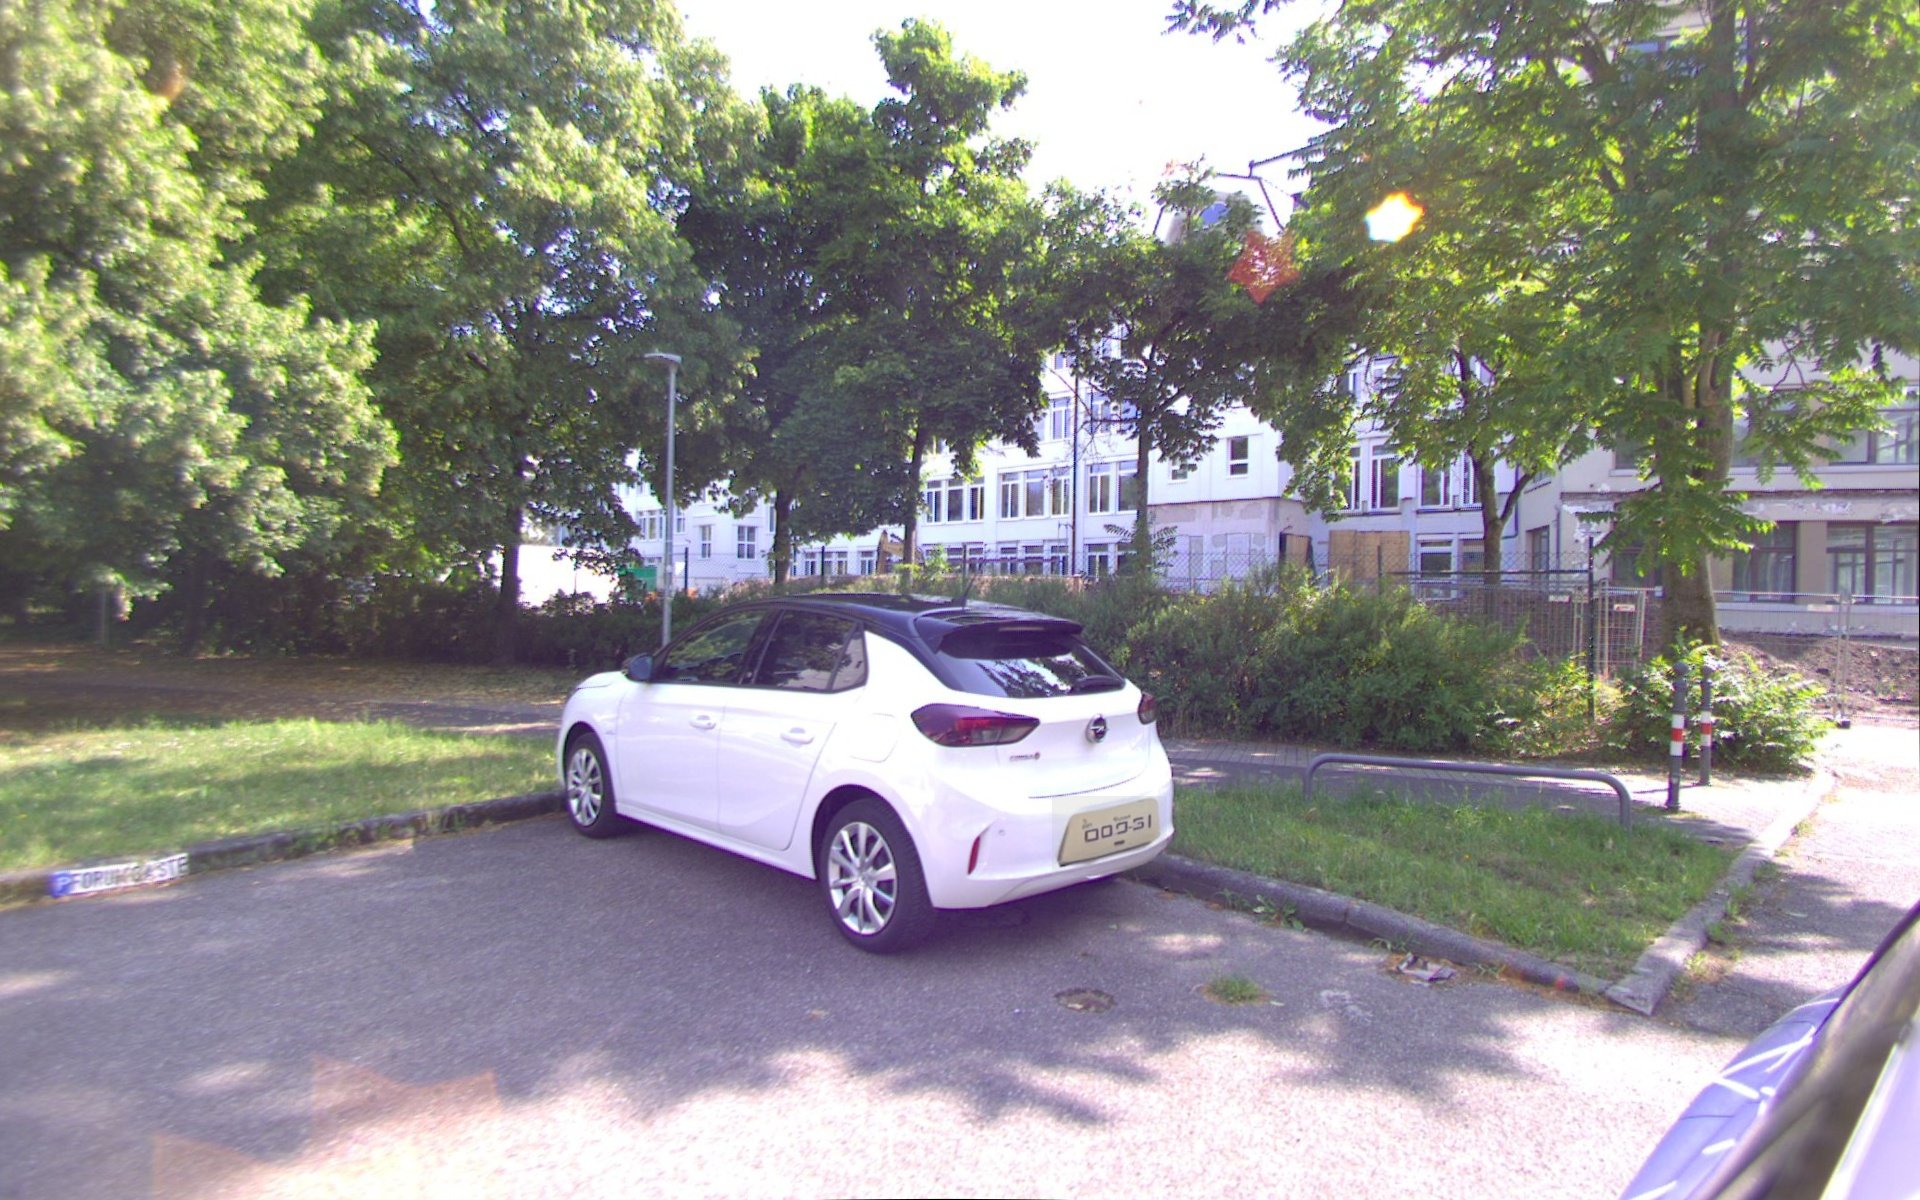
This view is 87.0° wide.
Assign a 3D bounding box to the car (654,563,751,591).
[{"bbox_3d":[-13.834,-1.224,54.618,4.789,1.446,1.840,-1,0,-44],"label":"car"}]

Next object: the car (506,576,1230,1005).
[{"bbox_3d":[-0.724,0.628,5.516,3.900,1.437,1.733,2,3,41],"label":"car"}]

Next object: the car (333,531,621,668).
[{"bbox_3d":[-12.180,-0.029,26.266,1.982,3.086,6.905,1,0,28],"label":"car"}]
